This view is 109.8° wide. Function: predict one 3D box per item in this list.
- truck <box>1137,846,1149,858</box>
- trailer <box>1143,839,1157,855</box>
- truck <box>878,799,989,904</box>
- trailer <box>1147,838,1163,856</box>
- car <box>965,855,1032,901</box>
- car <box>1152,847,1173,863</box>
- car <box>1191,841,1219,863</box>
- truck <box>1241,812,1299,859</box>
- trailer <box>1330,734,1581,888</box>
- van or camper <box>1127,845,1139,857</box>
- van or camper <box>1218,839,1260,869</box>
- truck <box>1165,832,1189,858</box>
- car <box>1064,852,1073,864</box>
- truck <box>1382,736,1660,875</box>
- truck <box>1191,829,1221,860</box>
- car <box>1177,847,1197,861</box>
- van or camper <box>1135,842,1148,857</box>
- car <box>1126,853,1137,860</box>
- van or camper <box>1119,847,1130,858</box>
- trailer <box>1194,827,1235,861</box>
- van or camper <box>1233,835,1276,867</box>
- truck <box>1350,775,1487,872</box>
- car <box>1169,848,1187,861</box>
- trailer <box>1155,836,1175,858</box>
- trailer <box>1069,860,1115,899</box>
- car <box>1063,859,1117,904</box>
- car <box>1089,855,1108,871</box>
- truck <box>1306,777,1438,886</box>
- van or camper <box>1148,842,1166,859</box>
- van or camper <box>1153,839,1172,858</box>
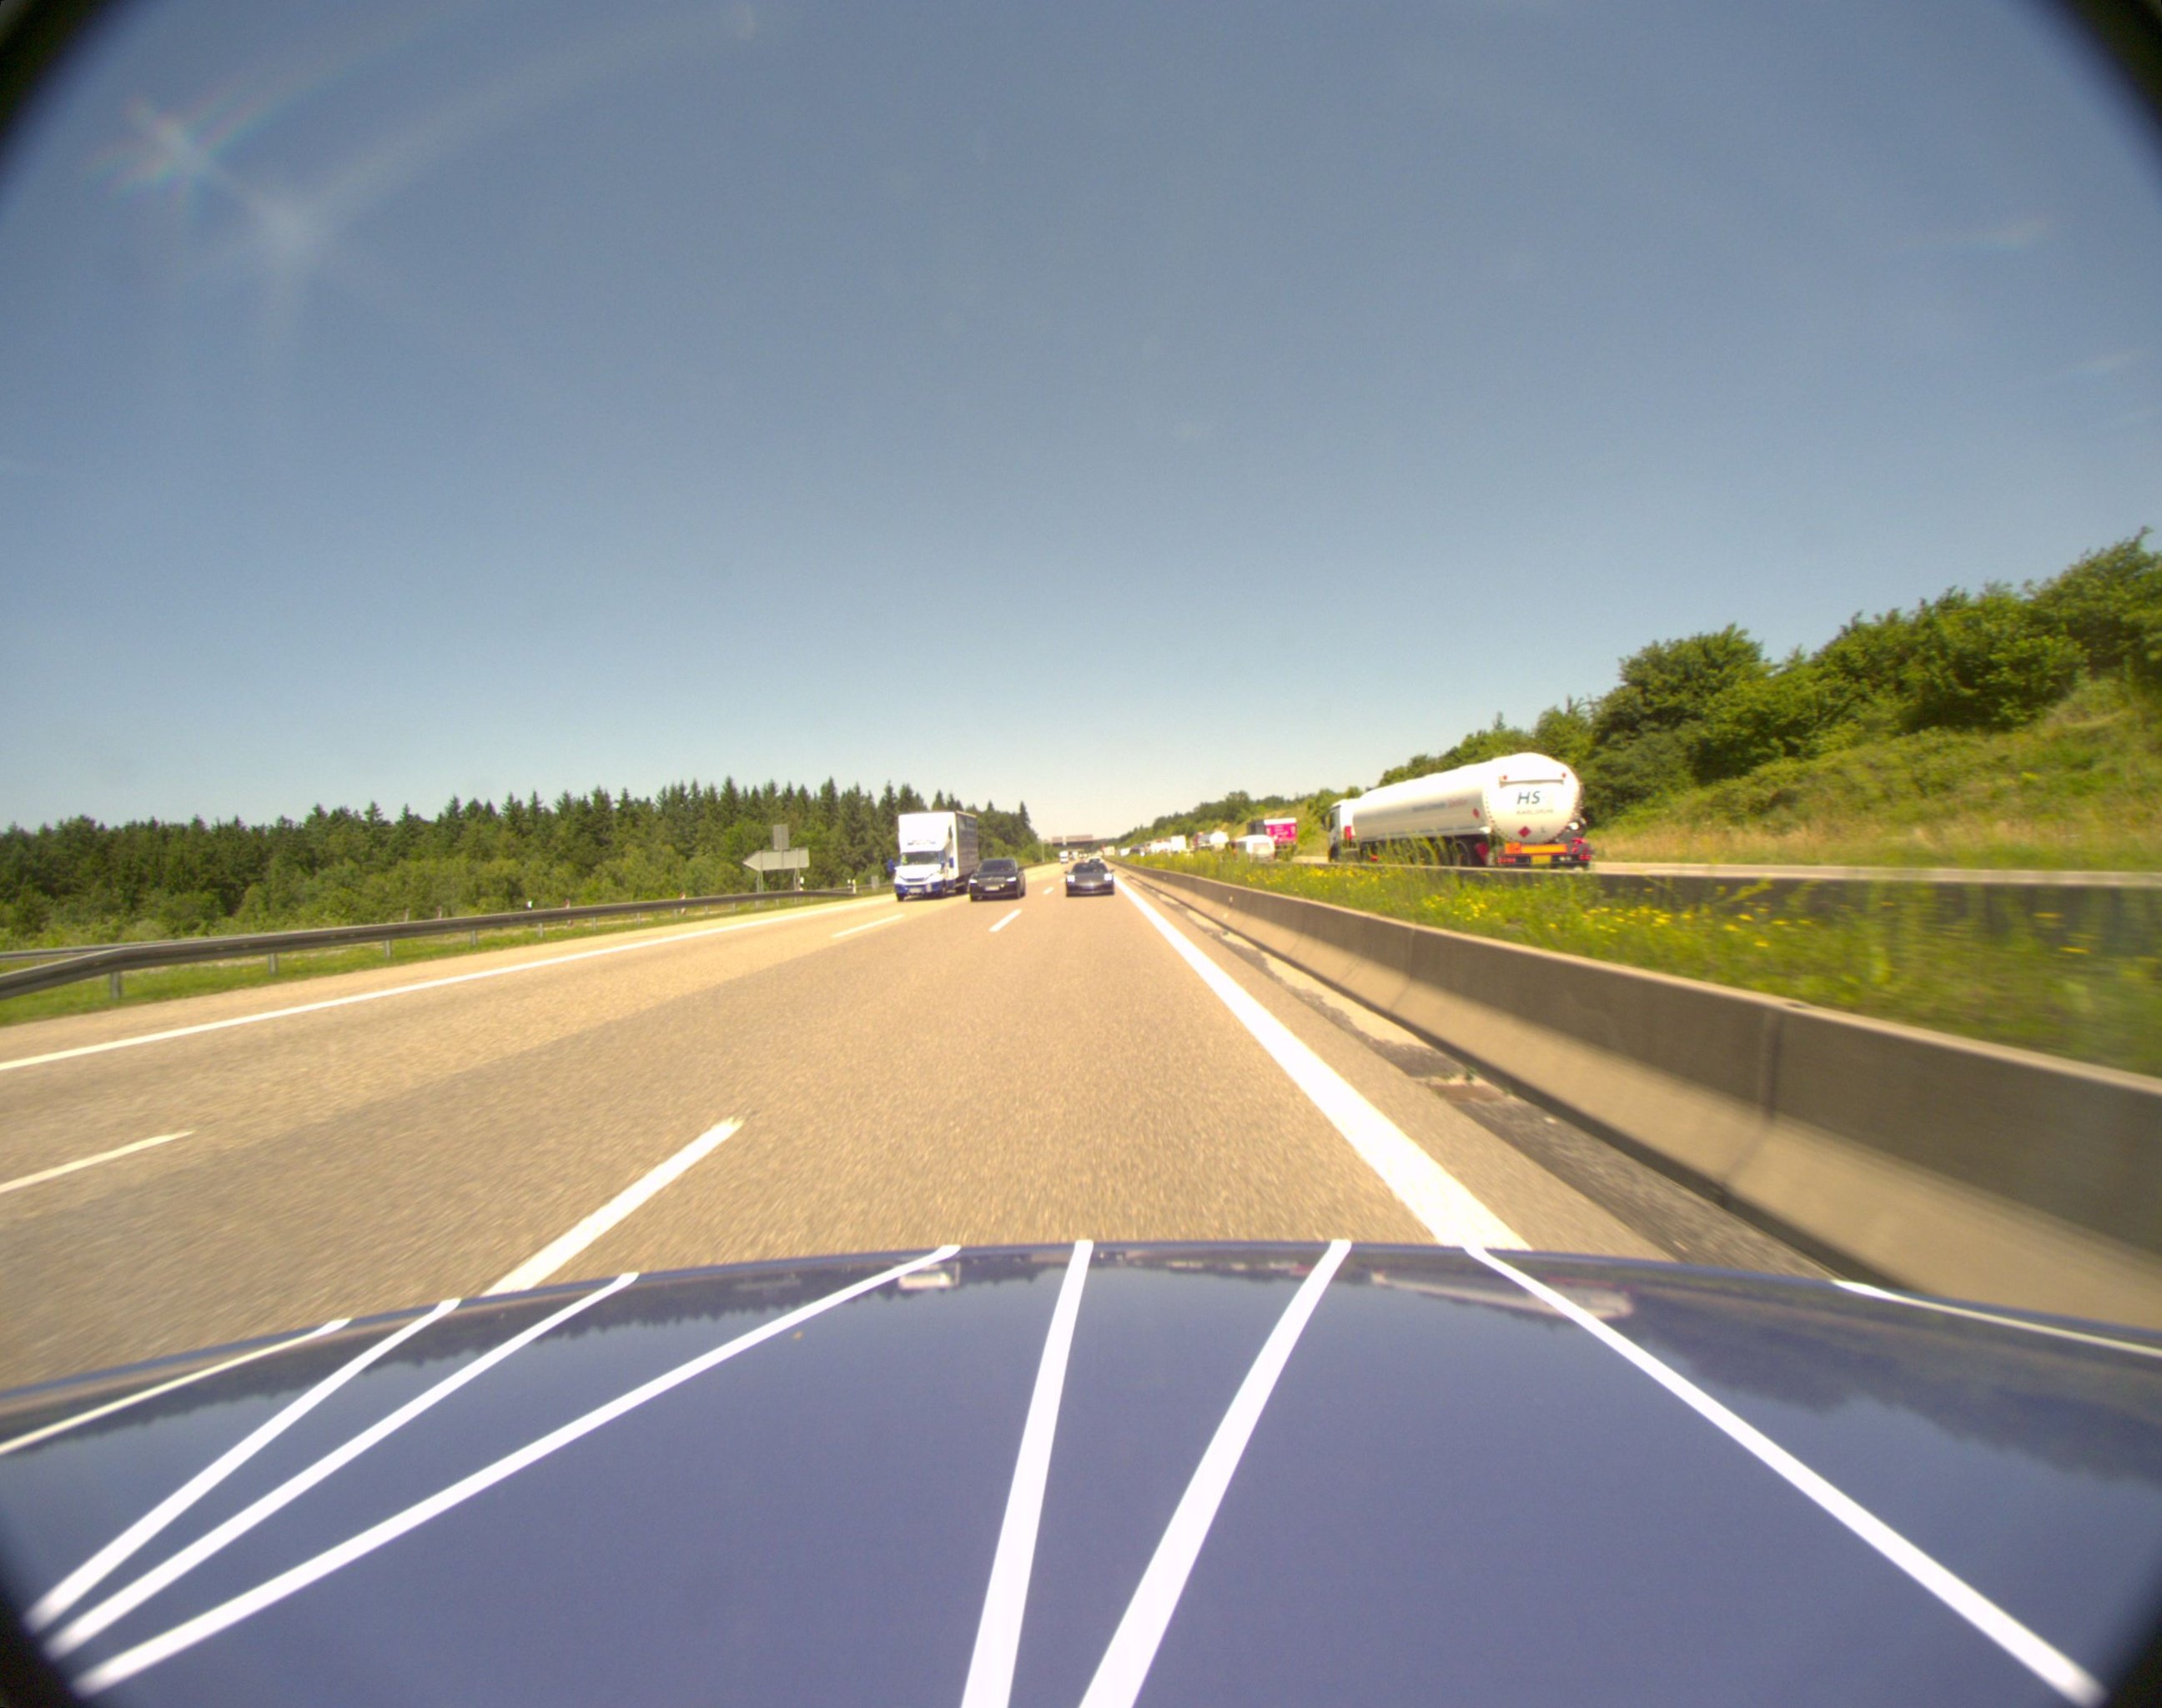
[{"bbox_3d":[14.837,-0.508,181.334,2.240,2.491,6.862,-4,0,0],"label":"truck"},{"bbox_3d":[18.973,-1.958,209.223,2.796,4.216,10.792,-5,0,1],"label":"trailer"},{"bbox_3d":[-6.626,-0.150,35.908,2.790,4.104,9.740,-4,0,2],"label":"truck"},{"bbox_3d":[18.224,-1.732,187.615,2.787,4.010,12.250,-5,0,1],"label":"trailer"},{"bbox_3d":[-3.169,0.931,30.107,1.989,1.609,4.459,-1,-1,2],"label":"car"},{"bbox_3d":[8.887,0.134,82.926,1.758,1.574,4.854,-4,0,1],"label":"car"},{"bbox_3d":[12.436,-0.206,76.569,2.028,1.946,5.094,-4,0,1],"label":"car"},{"bbox_3d":[16.262,-1.521,66.035,2.551,3.653,9.937,-4,0,1],"label":"truck"},{"bbox_3d":[11.641,-1.131,25.562,2.686,3.927,11.645,-1,0,0],"label":"trailer"},{"bbox_3d":[14.353,-0.763,210.847,2.848,2.931,8.112,-5,0,1],"label":"van or camper"},{"bbox_3d":[12.380,-0.029,59.843,1.998,2.140,5.955,-3,0,1],"label":"van or camper"},{"bbox_3d":[17.671,-1.630,140.532,2.527,4.300,12.421,-5,0,1],"label":"truck"},{"bbox_3d":[-3.531,1.156,217.775,2.303,3.317,7.621,-5,0,-1],"label":"car"},{"bbox_3d":[15.961,-1.452,29.545,3.587,4.069,12.580,-3,0,1],"label":"truck"},{"bbox_3d":[17.035,-1.299,104.112,2.790,3.801,6.031,-5,0,0],"label":"truck"},{"bbox_3d":[12.952,-0.048,93.010,1.758,1.541,4.189,-3,0,1],"label":"car"},{"bbox_3d":[14.814,-1.162,187.024,2.318,3.370,7.679,-4,0,0],"label":"van or camper"},{"bbox_3d":[10.437,0.544,157.532,1.823,1.400,4.882,-4,0,0],"label":"car"},{"bbox_3d":[10.465,-0.338,184.371,2.198,2.526,6.416,-4,0,0],"label":"van or camper"},{"bbox_3d":[17.026,-1.302,98.016,2.686,3.927,12.273,-5,1,0],"label":"trailer"},{"bbox_3d":[12.309,-0.209,54.222,1.998,2.140,4.717,-3,0,1],"label":"van or camper"},{"bbox_3d":[16.139,-1.381,37.034,3.499,4.013,6.643,-5,0,1],"label":"truck"},{"bbox_3d":[13.256,0.047,104.011,1.758,1.574,4.785,-4,0,1],"label":"car"},{"bbox_3d":[17.916,-1.459,161.976,2.618,4.285,11.999,-5,0,0],"label":"trailer"},{"bbox_3d":[0.442,0.971,30.242,1.689,1.399,3.046,-3,0,1],"label":"trailer"},{"bbox_3d":[0.354,0.942,26.997,1.718,1.431,4.459,-1,-1,2],"label":"car"},{"bbox_3d":[1.765,0.928,77.621,1.719,1.431,4.457,-4,0,0],"label":"car"},{"bbox_3d":[11.792,-0.804,31.634,2.624,3.867,7.403,-3,0,1],"label":"truck"},{"bbox_3d":[13.884,-0.678,139.140,2.551,2.920,7.828,-4,0,3],"label":"van or camper"},{"bbox_3d":[13.673,-0.873,127.617,2.551,2.920,8.131,-4,0,3],"label":"van or camper"}]
